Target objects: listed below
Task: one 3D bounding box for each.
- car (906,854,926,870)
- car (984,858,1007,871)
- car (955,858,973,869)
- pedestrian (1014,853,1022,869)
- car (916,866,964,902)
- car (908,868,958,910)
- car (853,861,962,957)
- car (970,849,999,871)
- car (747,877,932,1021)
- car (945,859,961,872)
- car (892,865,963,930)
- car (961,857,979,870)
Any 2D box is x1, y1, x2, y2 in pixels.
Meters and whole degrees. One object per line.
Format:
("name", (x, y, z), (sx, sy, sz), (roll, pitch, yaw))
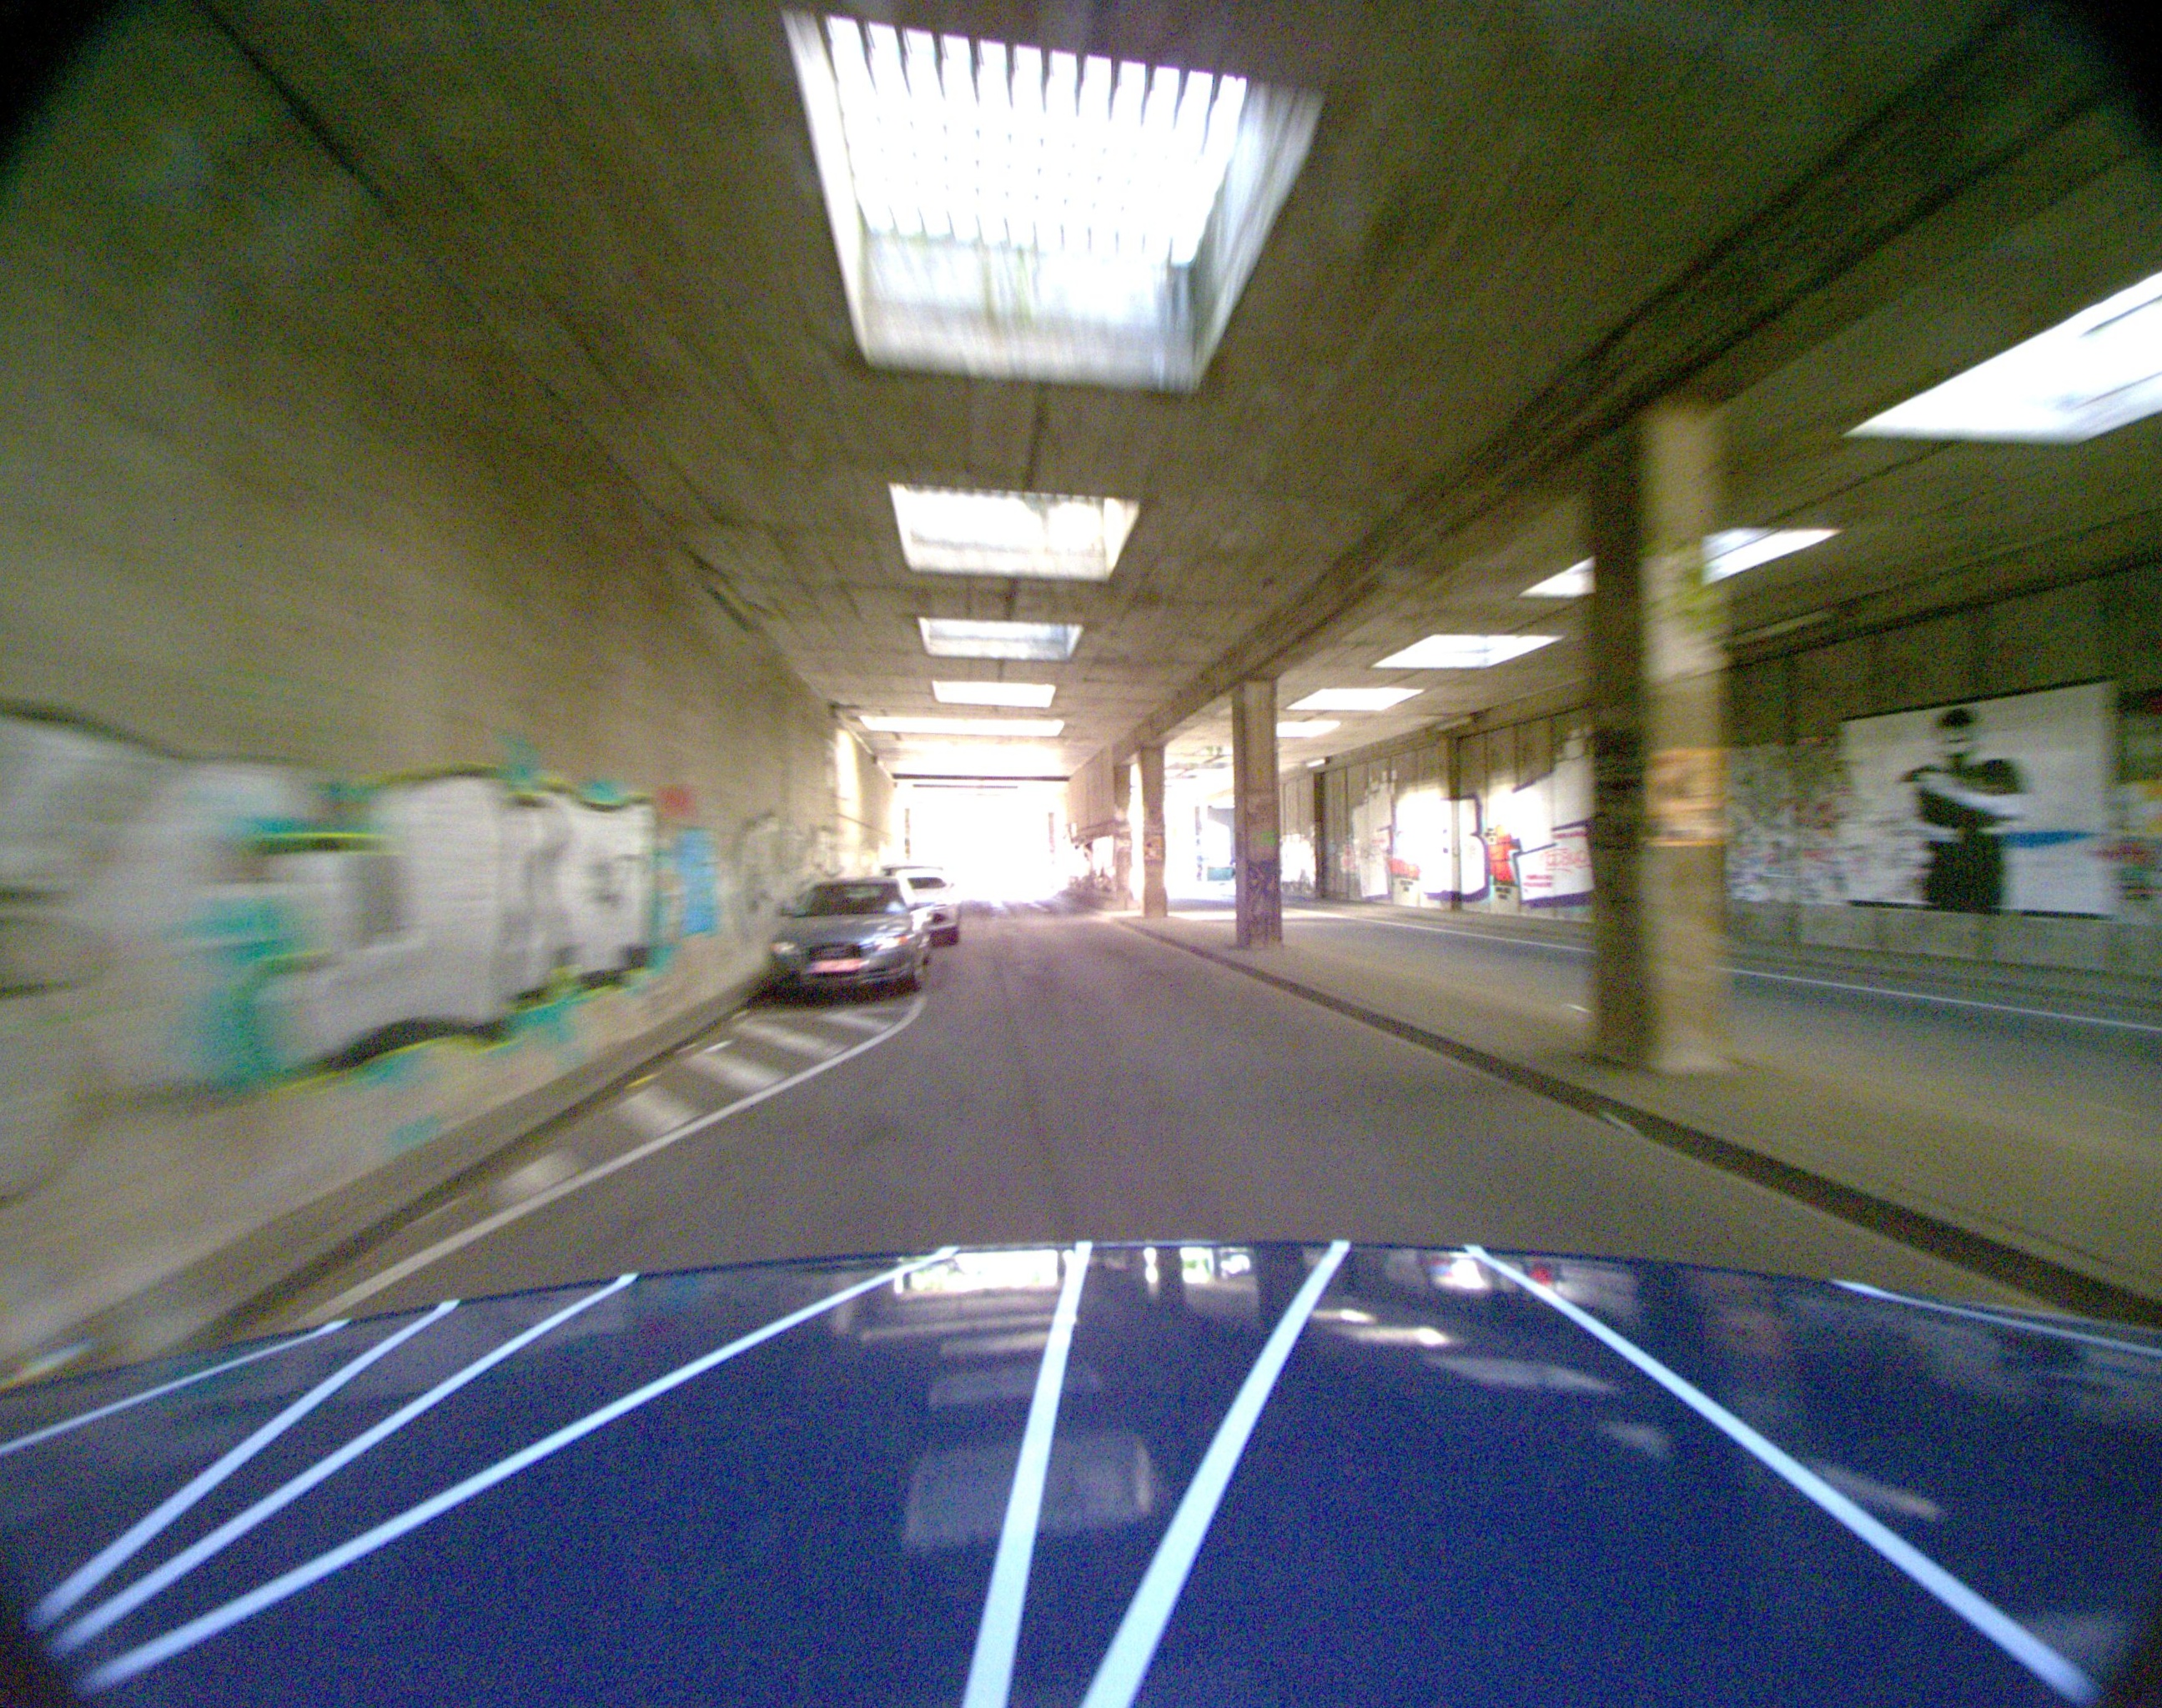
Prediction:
("car", (-21.493, 1.050, 98.752), (1.999, 2.017, 4.297), (-1, -1, -19))
("car", (-9.464, 1.139, 83.818), (1.694, 1.454, 3.994), (-1, 0, -17))
("car", (-16.184, 1.314, 104.894), (1.787, 1.548, 3.816), (-1, 0, -18))
("pedestrian", (-6.583, 0.736, 79.183), (0.633, 1.567, 0.532), (-1, 1, 16))
("car", (-6.564, 1.354, 35.843), (1.857, 1.424, 4.604), (-3, 1, -6))
("car", (-5.785, 1.325, 30.123), (1.767, 1.402, 4.060), (-1, 0, -9))
("car", (-3.468, 1.018, 15.921), (1.859, 1.656, 4.368), (-2, -1, -9))
("car", (-11.380, 0.698, 89.432), (2.222, 2.437, 5.086), (-1, 0, -20))
("car", (-3.024, 1.088, 10.400), (1.706, 1.366, 4.370), (-2, 0, -9))
("car", (-19.426, 1.733, 115.332), (1.778, 1.870, 3.995), (-1, 0, -17))
("car", (-4.348, 1.142, 21.584), (1.736, 1.537, 4.151), (-1, 0, -11))
("car", (-14.729, 1.249, 100.457), (1.696, 1.548, 3.816), (-1, 0, -18))
